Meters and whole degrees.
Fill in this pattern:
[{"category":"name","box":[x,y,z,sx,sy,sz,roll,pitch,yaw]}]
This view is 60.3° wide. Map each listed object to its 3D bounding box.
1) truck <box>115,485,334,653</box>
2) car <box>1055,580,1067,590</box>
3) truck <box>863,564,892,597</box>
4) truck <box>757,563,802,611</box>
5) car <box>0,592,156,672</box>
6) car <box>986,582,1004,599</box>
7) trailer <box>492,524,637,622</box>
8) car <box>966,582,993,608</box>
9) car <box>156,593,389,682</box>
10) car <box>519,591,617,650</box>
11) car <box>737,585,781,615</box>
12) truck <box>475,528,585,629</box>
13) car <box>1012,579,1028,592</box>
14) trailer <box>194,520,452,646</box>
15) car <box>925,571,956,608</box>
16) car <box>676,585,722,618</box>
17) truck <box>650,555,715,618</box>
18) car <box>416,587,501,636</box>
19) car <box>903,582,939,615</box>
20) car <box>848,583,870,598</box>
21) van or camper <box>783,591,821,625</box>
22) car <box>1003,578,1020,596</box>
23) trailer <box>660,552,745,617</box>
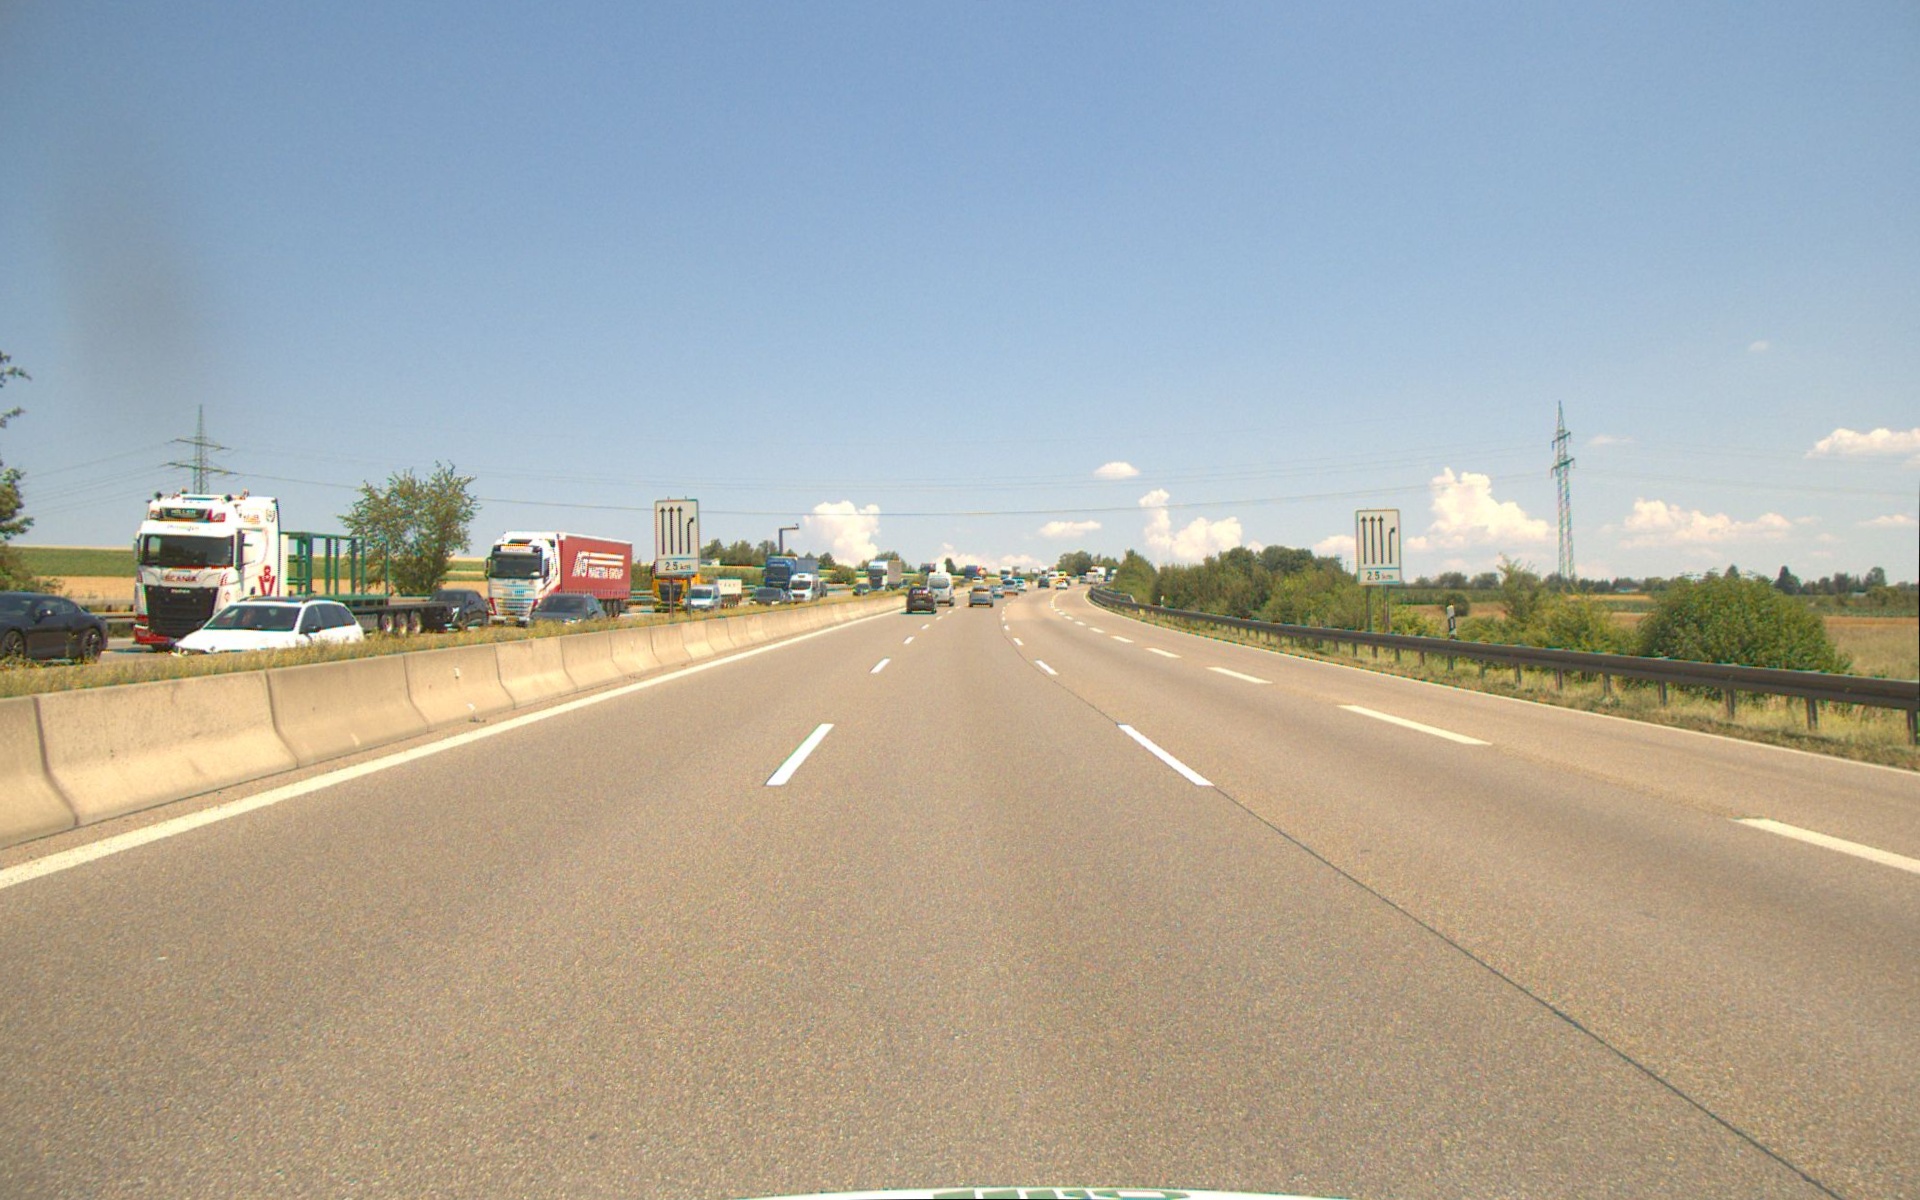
[{"category":"truck","box":[-18.649,-0.738,42.403,2.842,3.944,6.177,1,0,0]},{"category":"car","box":[15.836,-2.341,259.136,1.862,1.467,4.003,0,1,5]},{"category":"truck","box":[-11.075,-2.650,223.567,3.066,4.403,6.151,1,0,5]},{"category":"truck","box":[-16.418,-1.178,150.667,3.012,4.161,6.938,1,0,2]},{"category":"car","box":[-17.542,0.579,32.130,1.623,1.456,4.647,0,0,-1]},{"category":"car","box":[3.696,-0.997,175.347,1.952,1.613,4.000,0,-1,1]},{"category":"trailer","box":[-18.510,-1.196,78.701,3.022,4.172,14.384,1,0,2]},{"category":"car","box":[1.506,-0.379,126.338,1.953,1.781,3.999,1,-2,-1]},{"category":"car","box":[-11.124,0.644,27.168,1.800,1.307,4.873,1,-2,-1]},{"category":"car","box":[-11.403,0.562,48.391,1.800,1.611,4.554,1,0,-1]},{"category":"car","box":[-11.836,0.002,97.842,2.007,1.725,5.255,1,0,-1]},{"category":"truck","box":[-18.640,-0.912,72.101,2.973,4.153,6.315,1,0,1]},{"category":"car","box":[8.148,-1.963,224.716,1.952,1.579,4.002,2,1,4]},{"category":"trailer","box":[-18.637,-0.470,49.682,2.799,3.262,12.782,1,0,0]},{"category":"car","box":[-1.464,-0.775,128.575,2.134,2.671,4.673,1,-2,2]},{"category":"car","box":[-14.782,0.099,93.965,1.874,1.803,4.762,1,0,-1]},{"category":"truck","box":[-17.945,-0.881,107.278,2.693,3.904,7.101,1,1,3]},{"category":"car","box":[-18.643,0.465,61.696,1.800,1.659,4.603,1,-2,-1]},{"category":"car","box":[-2.351,-0.097,100.686,1.808,1.893,4.208,0,1,4]},{"category":"car","box":[-10.764,-1.061,177.126,1.874,1.568,5.744,1,0,1]},{"category":"van or camper","box":[-12.891,0.627,135.442,2.263,2.632,7.144,1,0,1]},{"category":"car","box":[6.050,-1.520,194.265,1.952,1.937,4.000,0,-2,1]},{"category":"trailer","box":[-17.611,-1.072,114.216,2.891,4.172,14.387,1,1,3]}]
